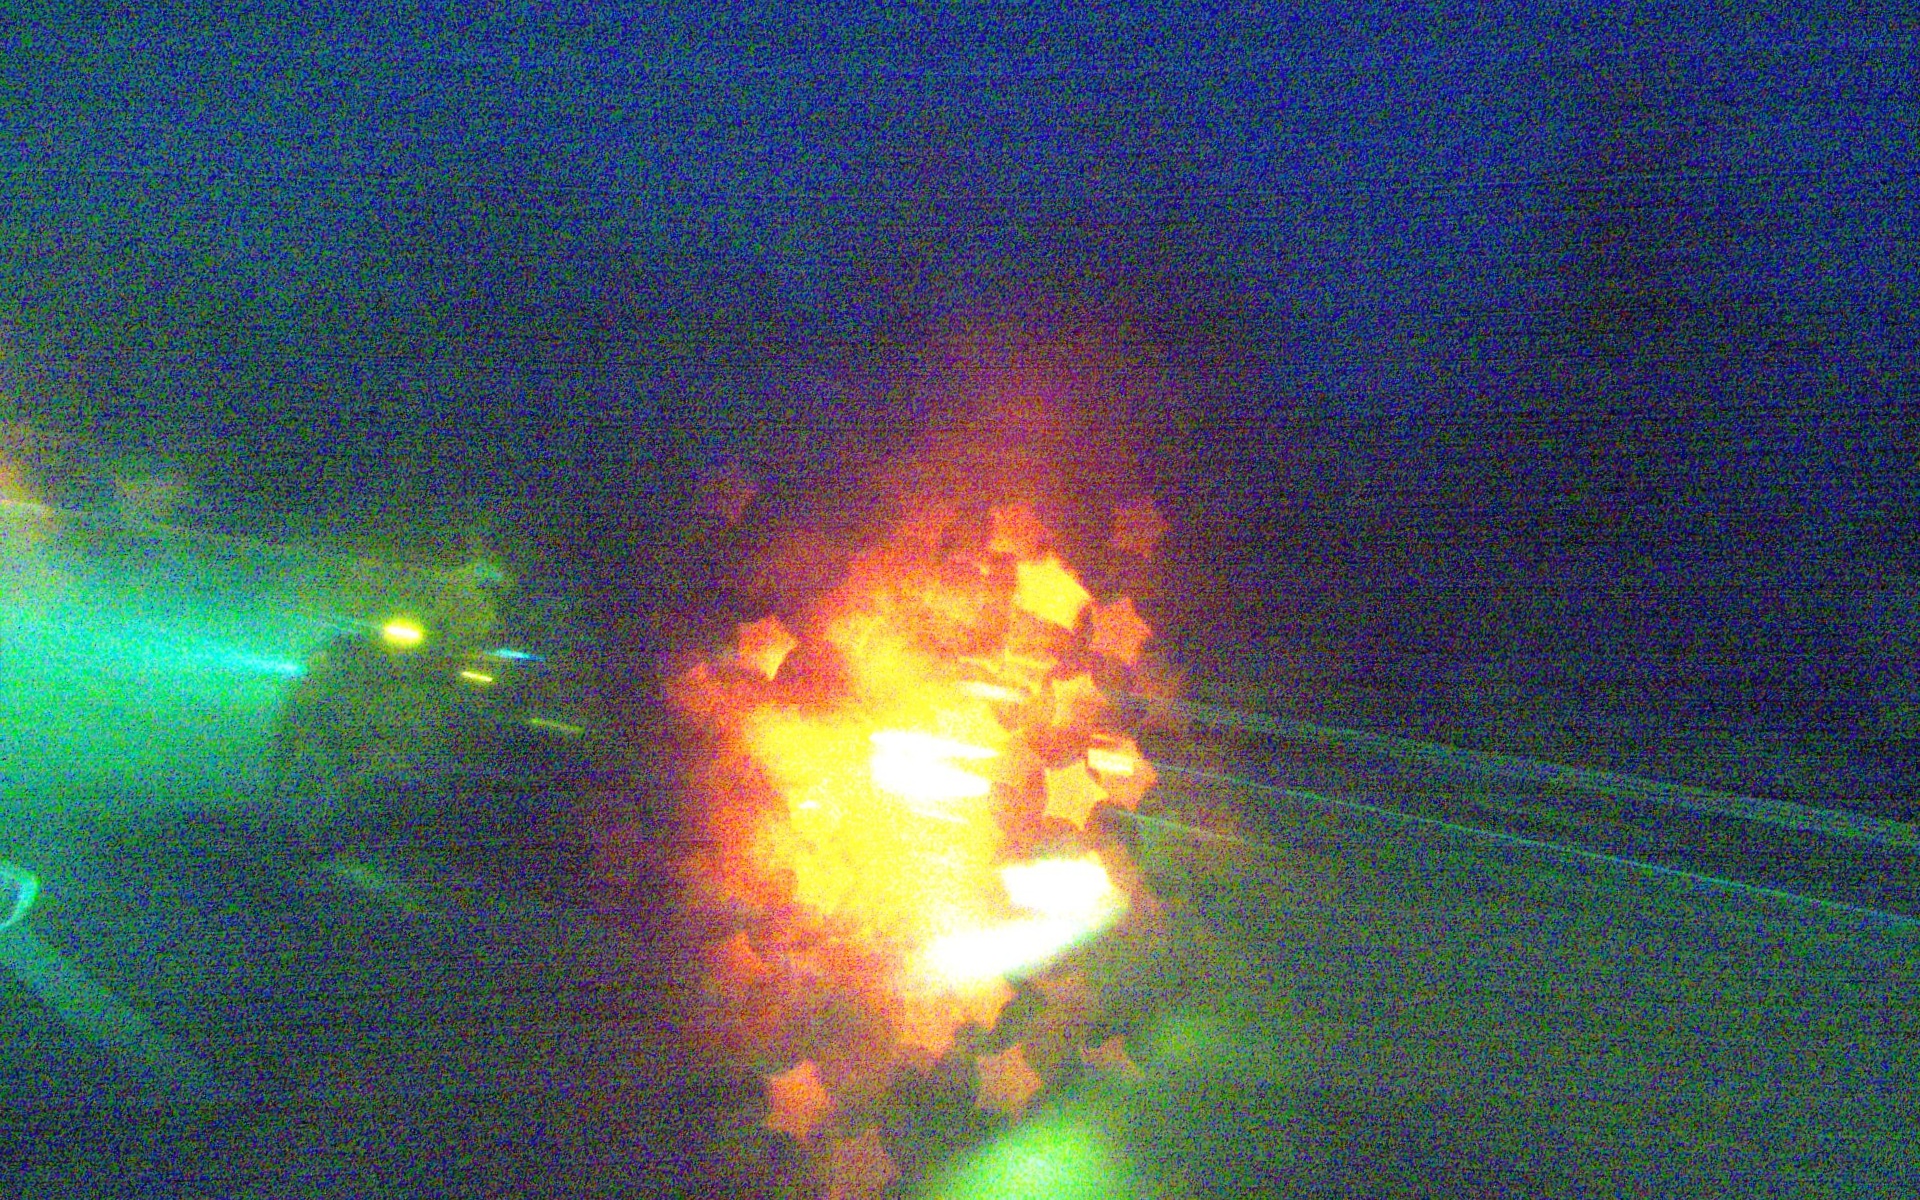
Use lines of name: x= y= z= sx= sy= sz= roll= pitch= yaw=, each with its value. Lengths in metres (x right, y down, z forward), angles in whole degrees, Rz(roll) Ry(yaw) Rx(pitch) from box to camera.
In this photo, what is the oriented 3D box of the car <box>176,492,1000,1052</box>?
car: x=-1.907 y=0.530 z=4.970 sx=3.617 sy=1.644 sz=1.846 roll=7 pitch=-1 yaw=32
